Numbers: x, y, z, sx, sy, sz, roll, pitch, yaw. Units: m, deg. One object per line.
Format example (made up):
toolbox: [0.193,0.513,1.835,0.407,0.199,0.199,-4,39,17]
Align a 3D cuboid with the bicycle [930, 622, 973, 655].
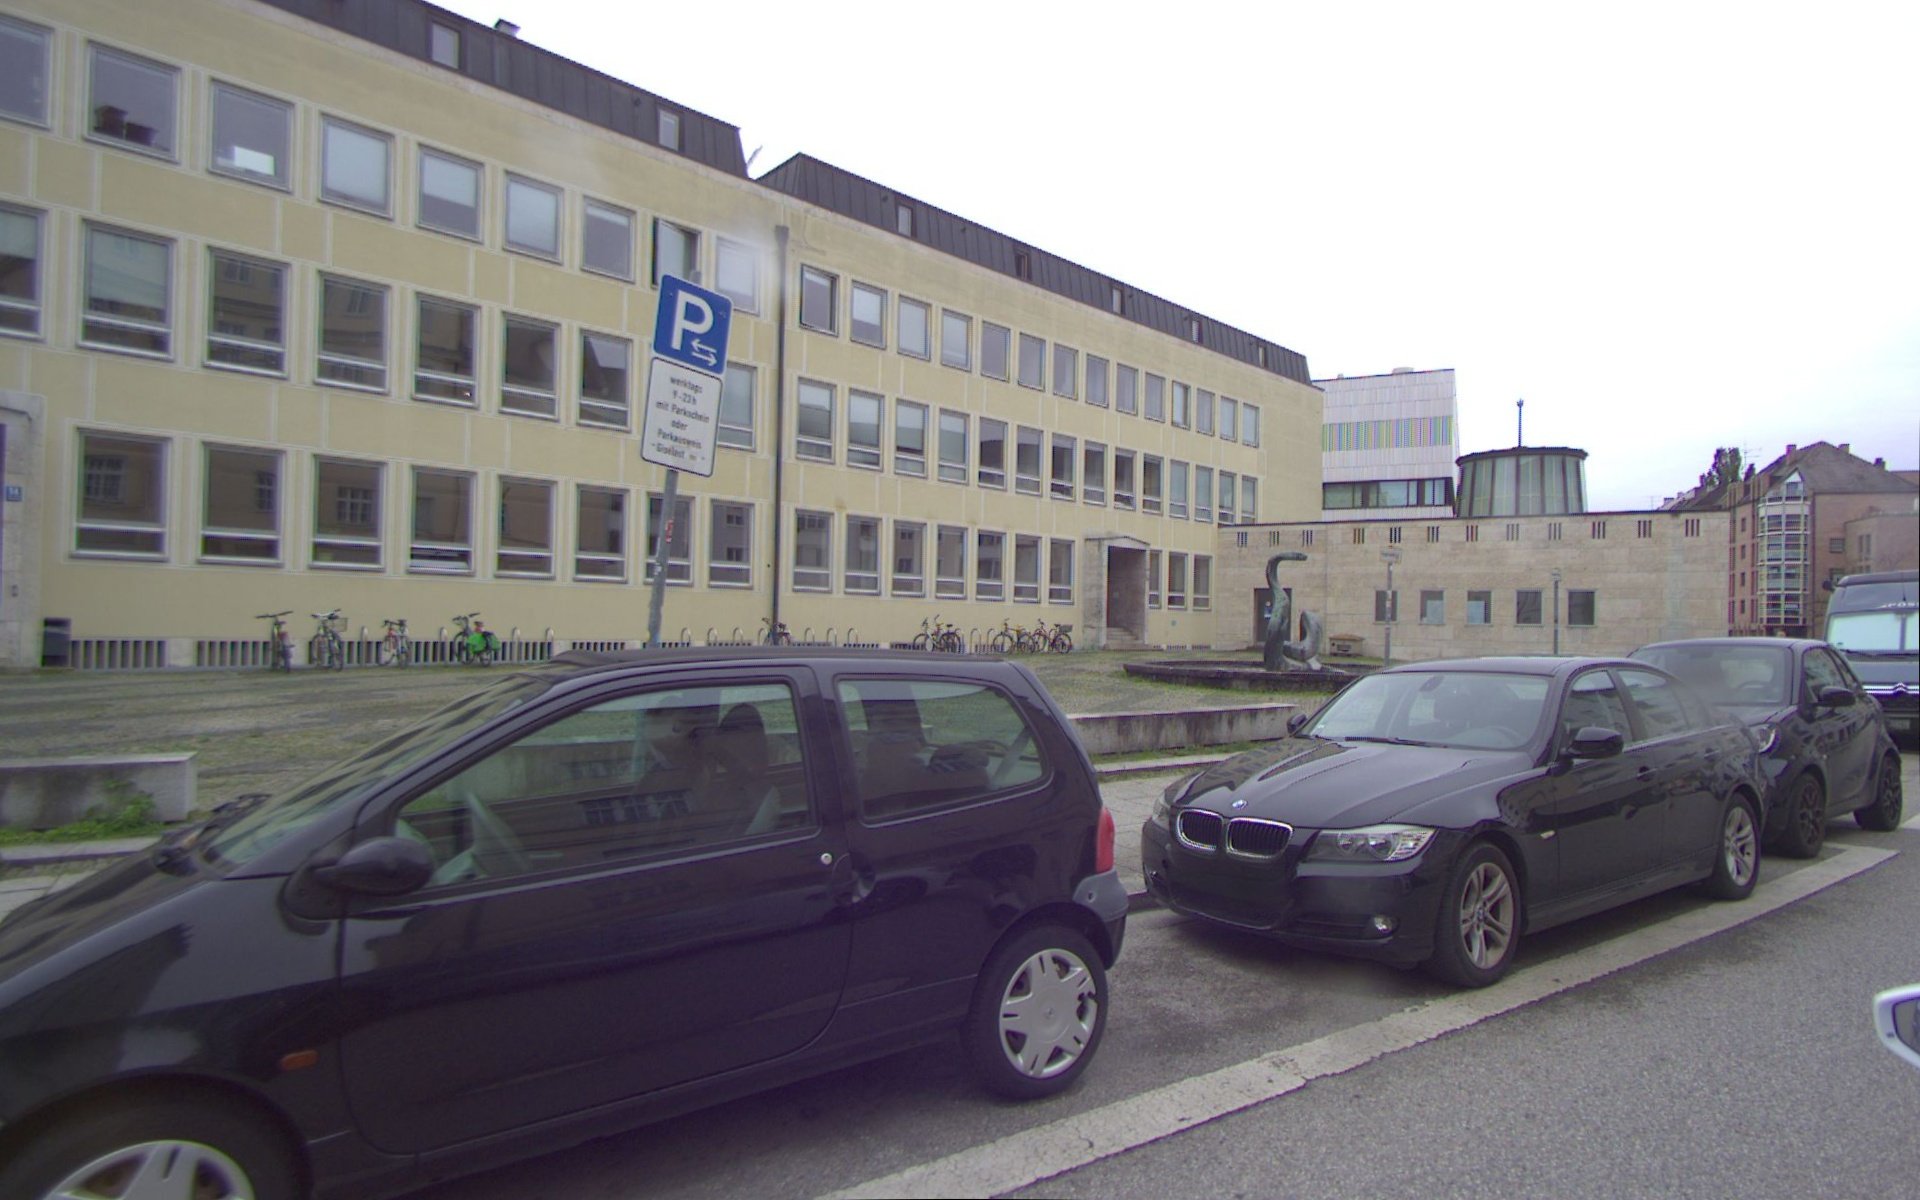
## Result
bicycle: [-0.274,1.194,31.721,0.412,0.957,1.455,1,0,-45]

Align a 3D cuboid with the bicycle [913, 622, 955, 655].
bicycle: [-0.810,1.181,31.083,0.412,0.957,1.455,1,0,-45]

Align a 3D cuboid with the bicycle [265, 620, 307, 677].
bicycle: [-12.839,0.897,19.110,0.411,0.957,1.934,2,0,-41]

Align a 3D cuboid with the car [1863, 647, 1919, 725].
car: [19.731,1.701,20.386,1.971,1.469,4.194,-3,-4,41]

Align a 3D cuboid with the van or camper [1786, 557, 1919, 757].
van or camper: [14.634,0.794,15.374,6.042,2.616,2.275,1,0,-43]

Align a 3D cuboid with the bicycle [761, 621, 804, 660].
bicycle: [-4.814,1.084,27.155,0.412,0.957,1.392,1,0,-45]

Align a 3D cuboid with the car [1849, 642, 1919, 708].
car: [23.887,1.770,23.874,3.732,1.527,1.716,-1,-3,11]

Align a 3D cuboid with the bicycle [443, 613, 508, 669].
bicycle: [-10.496,0.865,21.736,1.826,1.110,0.698,2,0,45]

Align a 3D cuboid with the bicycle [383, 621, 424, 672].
bicycle: [-11.386,0.927,20.536,0.411,0.957,1.394,2,0,-42]

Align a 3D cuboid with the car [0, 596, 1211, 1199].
car: [-1.060,0.811,3.253,3.563,1.514,1.623,2,-3,-31]

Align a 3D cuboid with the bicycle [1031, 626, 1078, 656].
bicycle: [3.249,1.402,34.627,0.412,0.957,1.689,1,0,-45]

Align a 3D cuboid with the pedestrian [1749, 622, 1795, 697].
pedestrian: [21.148,1.542,26.170,0.830,1.891,0.712,1,0,33]

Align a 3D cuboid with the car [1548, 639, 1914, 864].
car: [6.265,1.075,8.124,2.857,1.484,1.510,2,-3,-34]

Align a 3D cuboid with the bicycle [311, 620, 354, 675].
bicycle: [-12.221,0.909,19.536,0.411,0.957,1.841,2,0,-41]

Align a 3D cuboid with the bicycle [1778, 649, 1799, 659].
bicycle: [80.717,5.284,97.863,1.083,0.865,1.728,1,-1,19]

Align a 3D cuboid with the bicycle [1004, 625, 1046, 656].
bicycle: [2.178,1.358,33.706,0.412,0.957,1.455,1,0,-45]

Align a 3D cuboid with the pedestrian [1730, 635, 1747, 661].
pedestrian: [49.293,3.033,63.583,0.753,1.651,0.916,1,0,42]

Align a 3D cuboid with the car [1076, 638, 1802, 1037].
car: [2.918,0.978,5.753,4.420,1.484,1.763,2,-3,-34]
